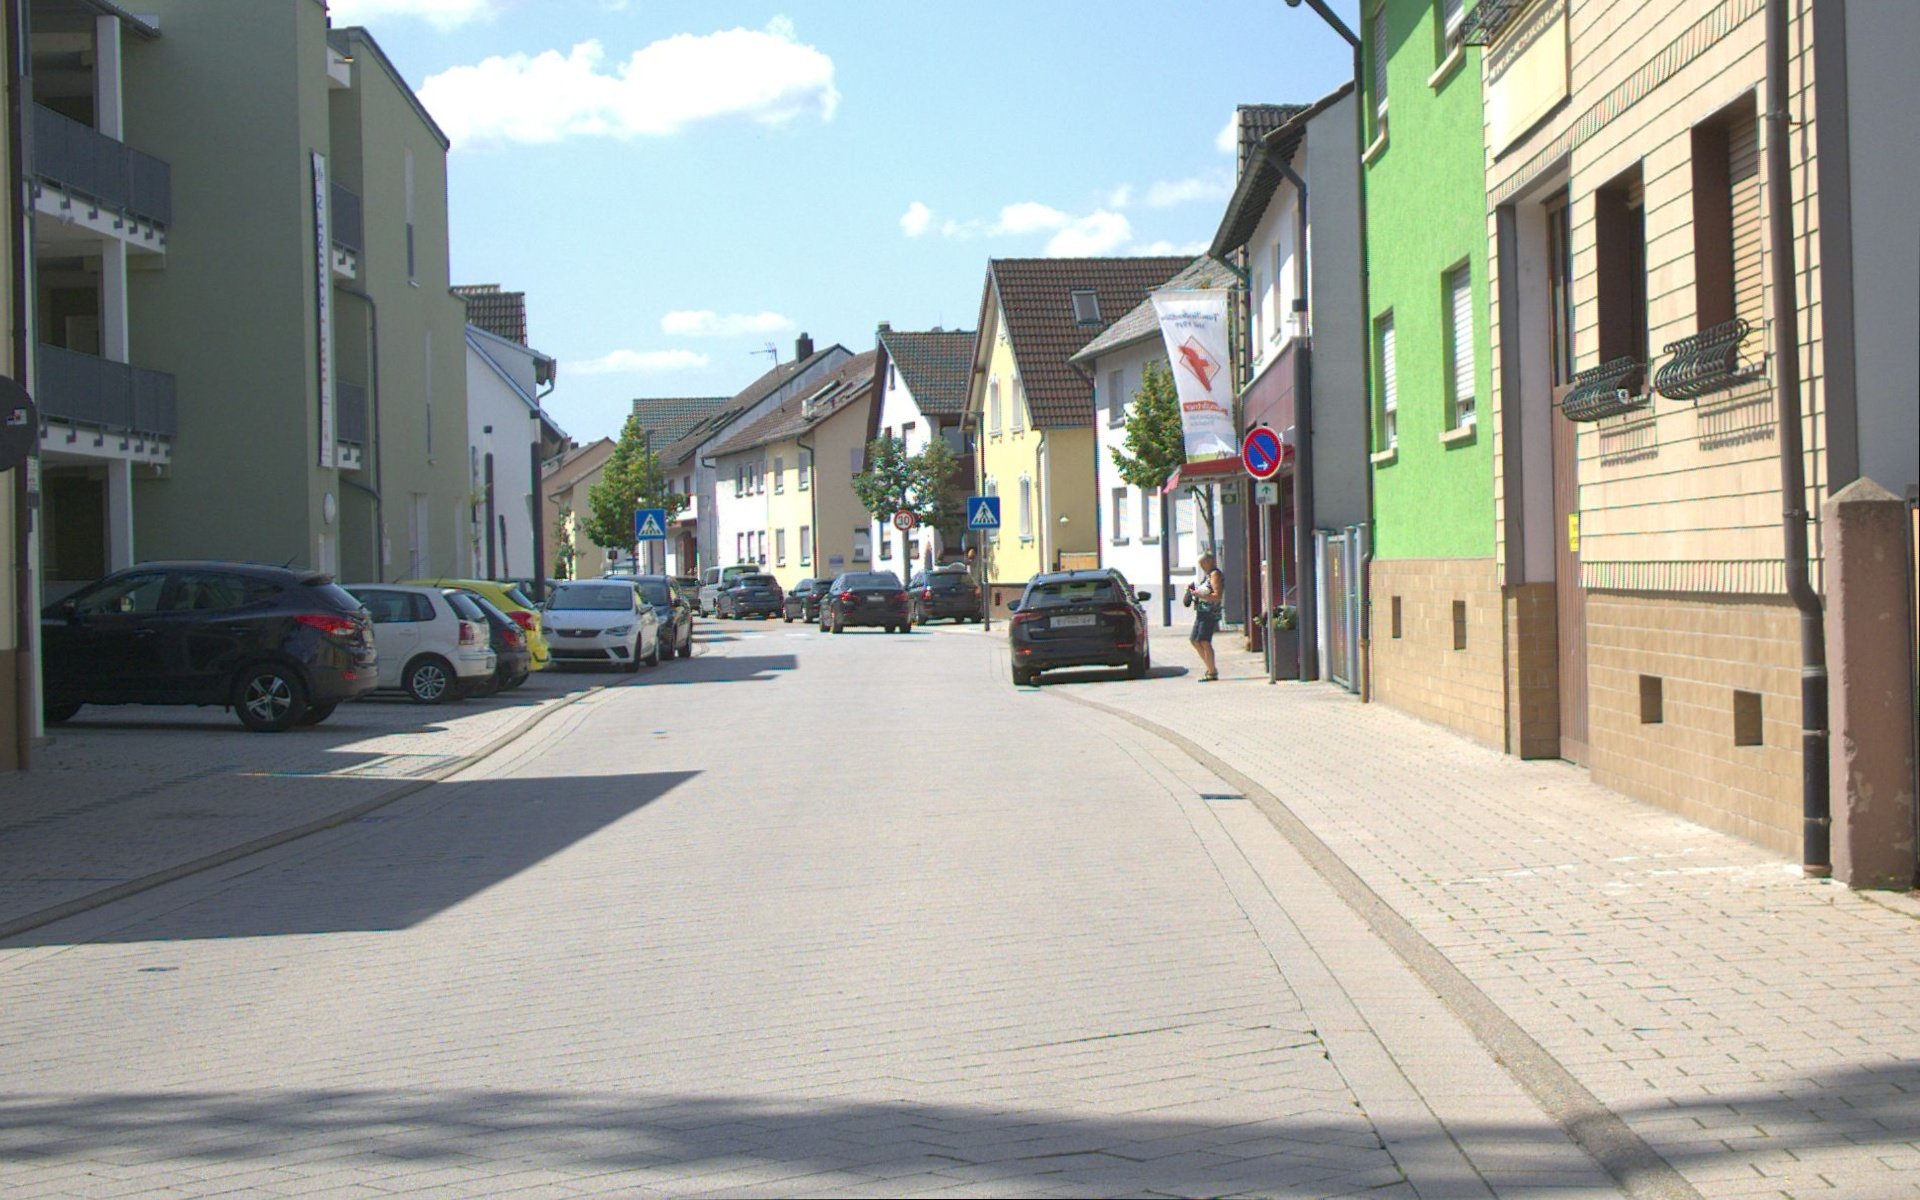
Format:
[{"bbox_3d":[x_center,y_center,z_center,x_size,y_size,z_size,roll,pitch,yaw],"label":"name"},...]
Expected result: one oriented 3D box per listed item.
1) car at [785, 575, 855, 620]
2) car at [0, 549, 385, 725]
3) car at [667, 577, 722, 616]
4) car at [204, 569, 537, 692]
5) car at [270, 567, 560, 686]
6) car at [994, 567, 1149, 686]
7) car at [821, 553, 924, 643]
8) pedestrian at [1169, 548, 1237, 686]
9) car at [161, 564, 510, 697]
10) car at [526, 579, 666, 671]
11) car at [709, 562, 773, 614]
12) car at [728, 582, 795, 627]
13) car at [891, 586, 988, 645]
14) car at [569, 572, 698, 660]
[{"bbox_3d":[-4.516,-0.079,110.507,1.710,1.382,3.707,-1,0,-11],"label":"car"},{"bbox_3d":[-8.082,0.349,34.653,4.219,1.653,1.784,1,0,1],"label":"car"},{"bbox_3d":[-10.744,-0.152,138.777,1.754,1.488,4.001,-1,0,-11],"label":"car"},{"bbox_3d":[-7.655,0.385,44.837,3.987,1.437,1.691,2,0,1],"label":"car"},{"bbox_3d":[-7.523,0.356,47.675,3.692,1.520,1.672,1,0,2],"label":"car"},{"bbox_3d":[1.561,0.327,46.550,1.858,1.454,4.585,-3,0,4],"label":"car"},{"bbox_3d":[-2.122,-0.071,82.061,1.993,2.051,4.375,-1,0,-7],"label":"car"},{"bbox_3d":[2.985,0.212,42.201,0.730,1.634,0.749,-4,0,4],"label":"pedestrian"},{"bbox_3d":[-7.675,0.360,42.464,3.901,1.497,1.750,2,0,3],"label":"car"},{"bbox_3d":[-5.884,0.381,55.890,1.758,1.406,3.877,1,1,1],"label":"car"},{"bbox_3d":[-8.281,-0.455,129.769,1.906,1.865,4.001,-1,0,-11],"label":"car"},{"bbox_3d":[-7.204,0.151,124.419,1.877,1.586,4.001,-1,0,-11],"label":"car"},{"bbox_3d":[-0.586,0.415,93.725,1.828,1.466,4.277,-3,0,-11],"label":"car"},{"bbox_3d":[-5.830,0.259,61.798,1.813,1.485,4.277,1,1,1],"label":"car"}]
